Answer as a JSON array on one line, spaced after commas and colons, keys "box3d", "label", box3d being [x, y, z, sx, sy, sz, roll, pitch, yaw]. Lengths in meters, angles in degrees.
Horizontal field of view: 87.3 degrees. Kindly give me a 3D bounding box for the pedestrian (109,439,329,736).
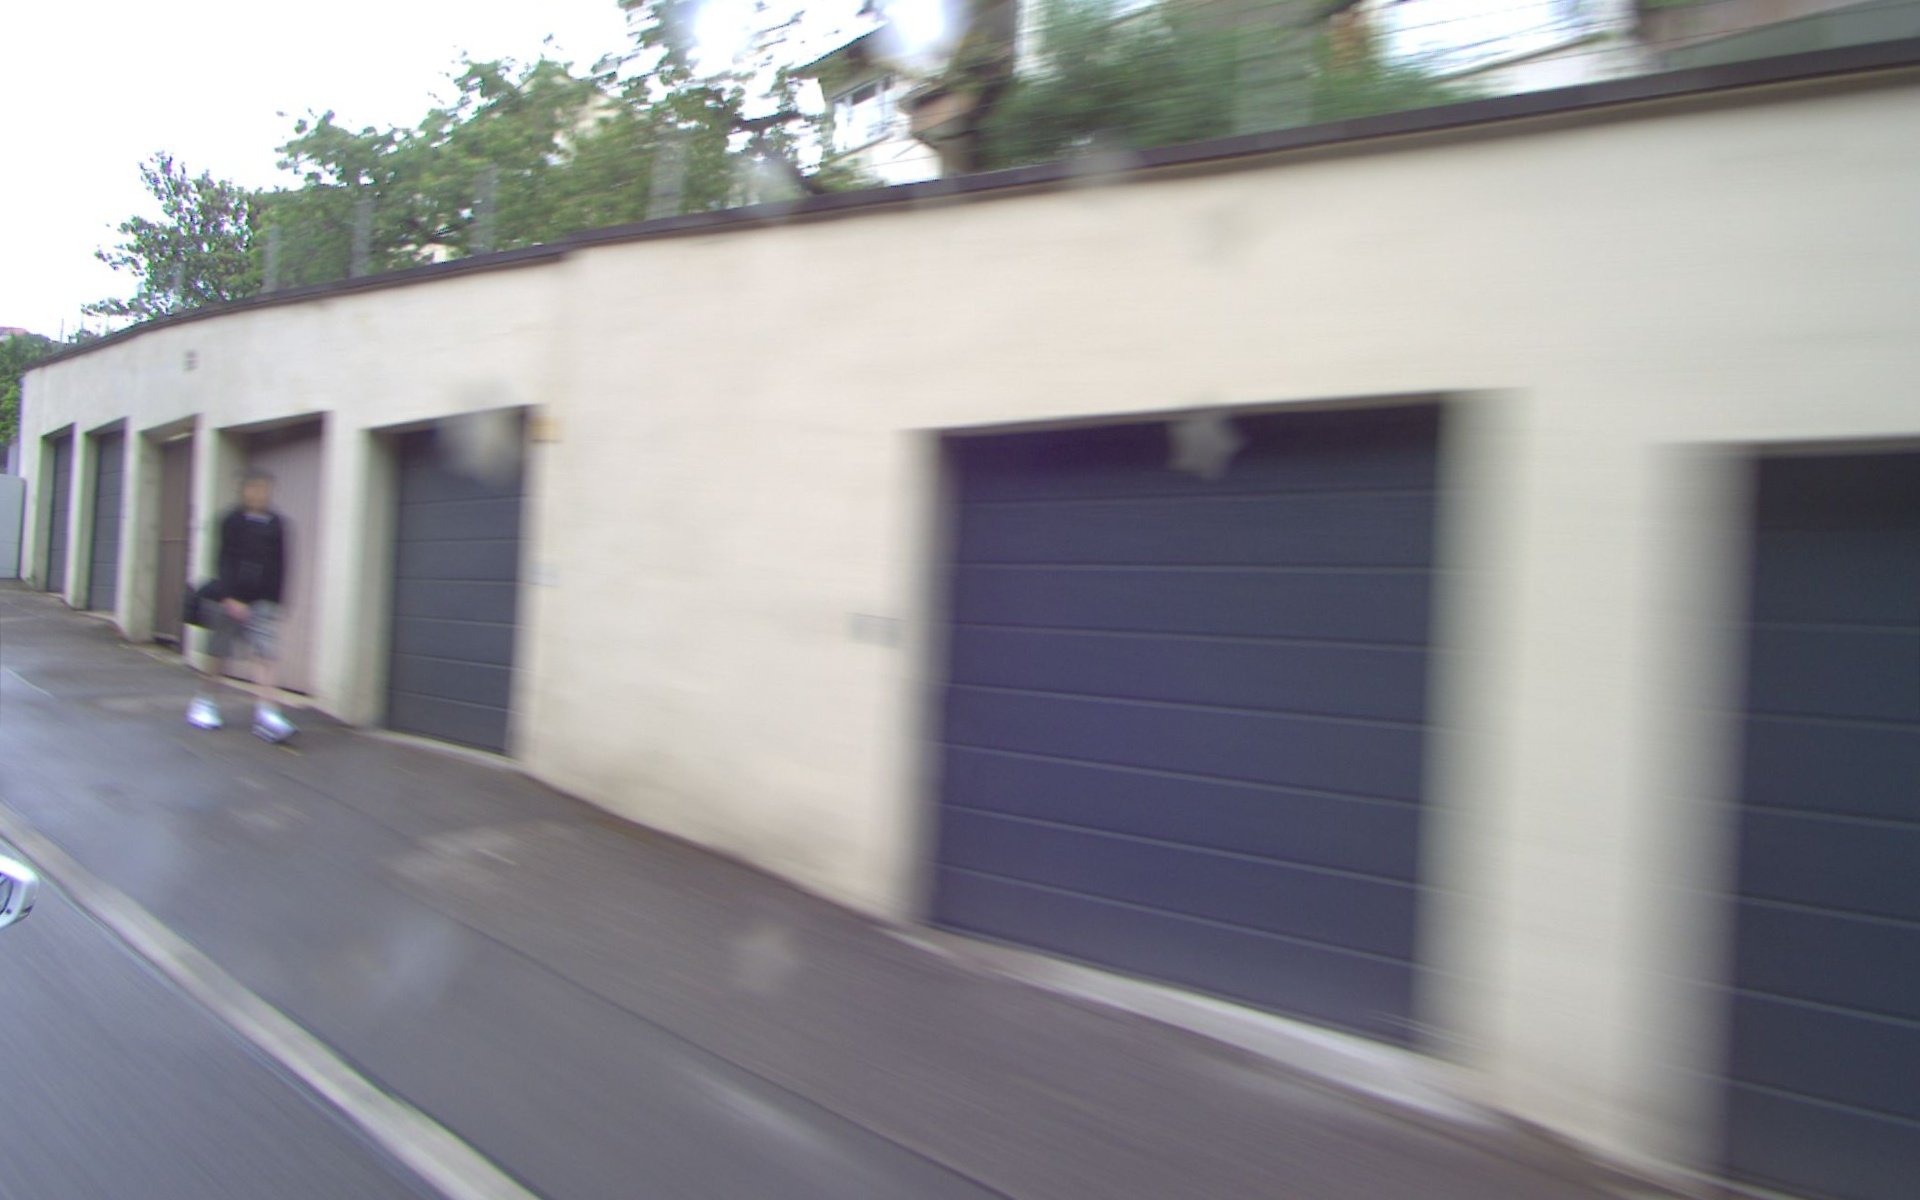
[{"box3d": [-5.071, -0.078, 6.902, 0.790, 1.874, 0.899, 7, 1, 36], "label": "pedestrian"}]
